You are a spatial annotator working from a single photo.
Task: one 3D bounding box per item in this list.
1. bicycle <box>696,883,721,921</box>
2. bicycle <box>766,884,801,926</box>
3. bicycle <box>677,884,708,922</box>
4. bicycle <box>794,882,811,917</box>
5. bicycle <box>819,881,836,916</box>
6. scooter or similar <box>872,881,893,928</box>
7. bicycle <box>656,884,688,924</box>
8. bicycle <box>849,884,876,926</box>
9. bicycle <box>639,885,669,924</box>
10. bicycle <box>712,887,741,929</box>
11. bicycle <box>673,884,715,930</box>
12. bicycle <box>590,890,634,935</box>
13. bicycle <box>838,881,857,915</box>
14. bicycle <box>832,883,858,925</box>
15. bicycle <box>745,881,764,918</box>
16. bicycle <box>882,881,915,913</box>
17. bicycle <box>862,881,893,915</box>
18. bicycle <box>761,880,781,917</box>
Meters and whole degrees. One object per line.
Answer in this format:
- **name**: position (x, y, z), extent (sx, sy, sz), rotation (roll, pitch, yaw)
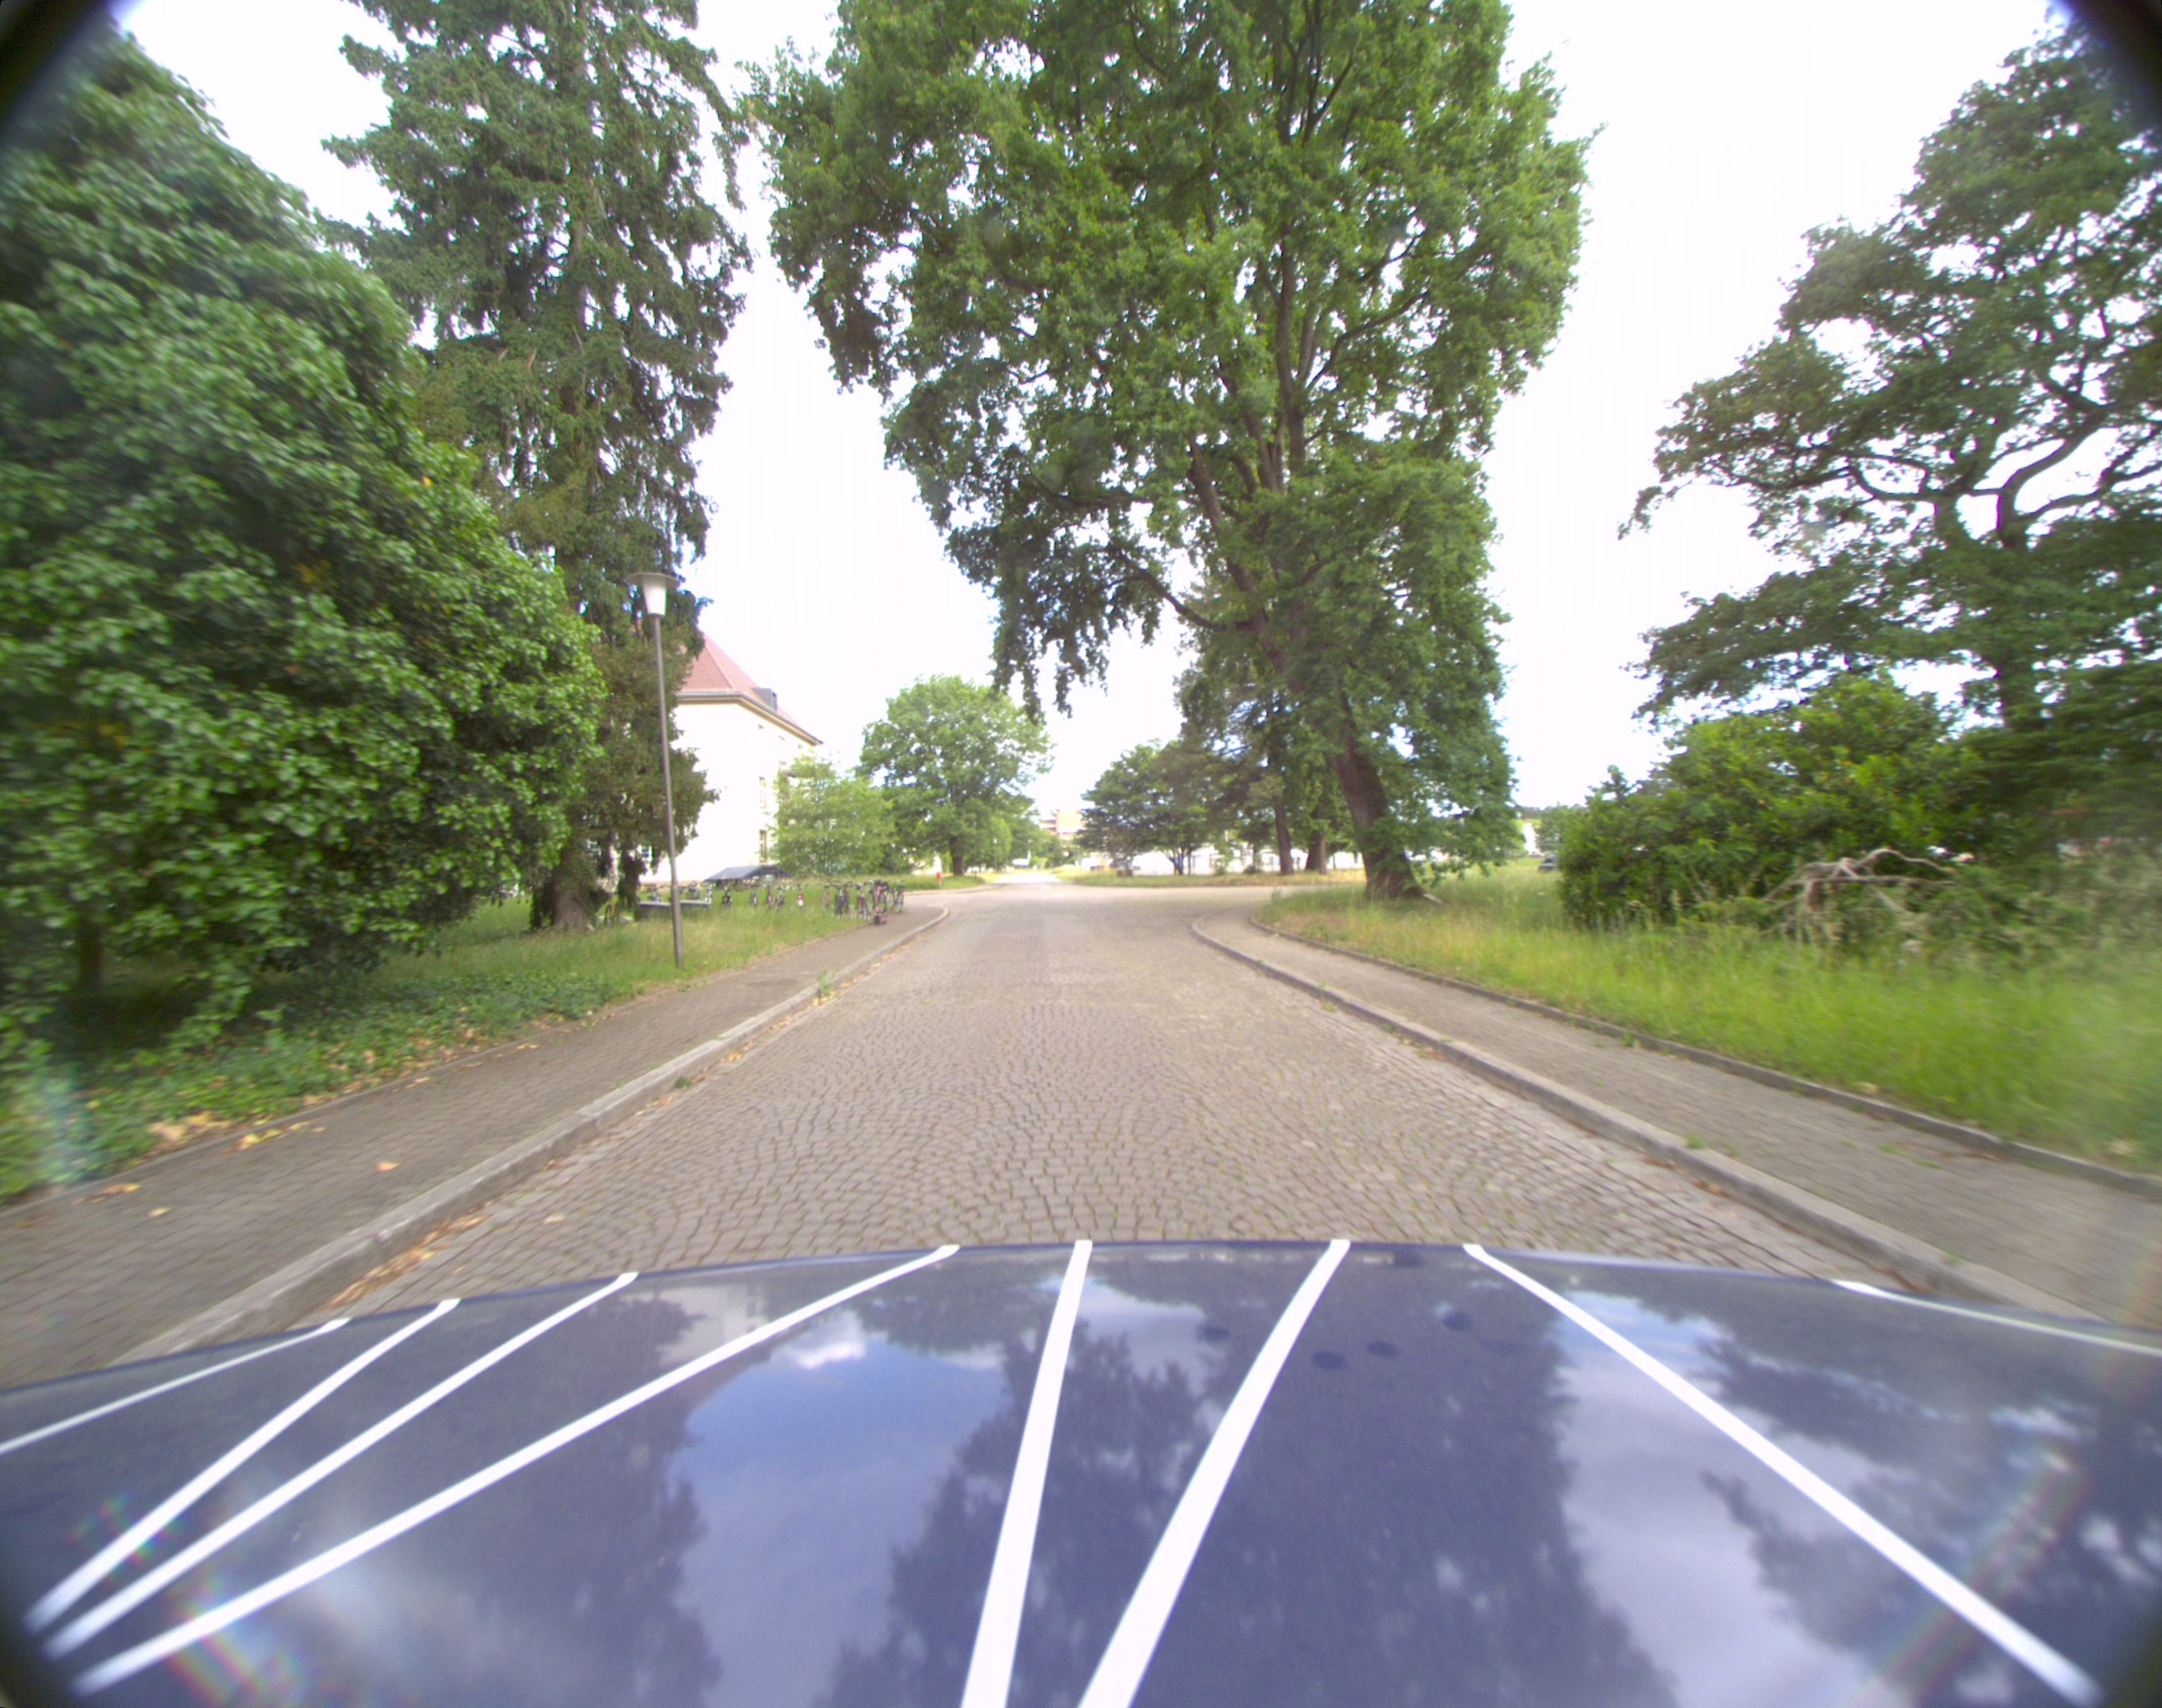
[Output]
- **bicycle**: position (-11.709, 1.482, 23.917), extent (0.478, 1.105, 1.762), rotation (-2, 0, -20)
- **bicycle**: position (-8.341, 1.403, 21.266), extent (0.619, 1.059, 1.822), rotation (-2, 0, -29)
- **bicycle**: position (-12.090, 1.500, 23.661), extent (0.442, 1.105, 1.650), rotation (-2, 0, -14)
- **bicycle**: position (-9.131, 1.479, 24.937), extent (0.478, 1.002, 1.664), rotation (-2, 1, -20)
- **bicycle**: position (-8.365, 1.450, 25.070), extent (0.478, 1.002, 1.664), rotation (-2, 1, -20)
- **scooter or similar**: position (-5.420, 1.361, 20.783), extent (0.357, 1.202, 1.137), rotation (-2, 0, -7)
- **bicycle**: position (-12.565, 1.514, 23.364), extent (0.442, 1.105, 1.650), rotation (-2, 0, -14)
- **bicycle**: position (-6.328, 1.458, 21.961), extent (0.552, 1.108, 1.767), rotation (-2, 0, -21)
- **bicycle**: position (-13.172, 1.534, 23.473), extent (0.478, 1.105, 1.762), rotation (-2, 0, -20)
- **bicycle**: position (-9.662, 1.446, 20.670), extent (0.552, 1.059, 1.750), rotation (-2, 0, -29)
- **bicycle**: position (-10.784, 1.446, 21.228), extent (0.551, 1.164, 1.752), rotation (-2, 0, -12)
- **bicycle**: position (-12.143, 1.492, 19.710), extent (0.552, 1.035, 1.681), rotation (-2, 0, -18)
- **bicycle**: position (-7.761, 1.427, 25.217), extent (0.478, 1.002, 1.664), rotation (-2, 1, -20)
- **bicycle**: position (-6.770, 1.395, 21.728), extent (0.552, 1.108, 1.802), rotation (-2, 0, -21)
- **bicycle**: position (-10.496, 1.441, 24.421), extent (0.478, 1.105, 1.762), rotation (-2, 0, -25)
- **bicycle**: position (-6.211, 1.438, 25.811), extent (0.478, 1.002, 1.618), rotation (-3, 2, -34)
- **bicycle**: position (-6.919, 1.475, 25.794), extent (0.478, 1.068, 1.618), rotation (-3, 2, -34)
- **bicycle**: position (-9.960, 1.419, 24.412), extent (0.478, 1.105, 1.762), rotation (-2, 0, -20)
